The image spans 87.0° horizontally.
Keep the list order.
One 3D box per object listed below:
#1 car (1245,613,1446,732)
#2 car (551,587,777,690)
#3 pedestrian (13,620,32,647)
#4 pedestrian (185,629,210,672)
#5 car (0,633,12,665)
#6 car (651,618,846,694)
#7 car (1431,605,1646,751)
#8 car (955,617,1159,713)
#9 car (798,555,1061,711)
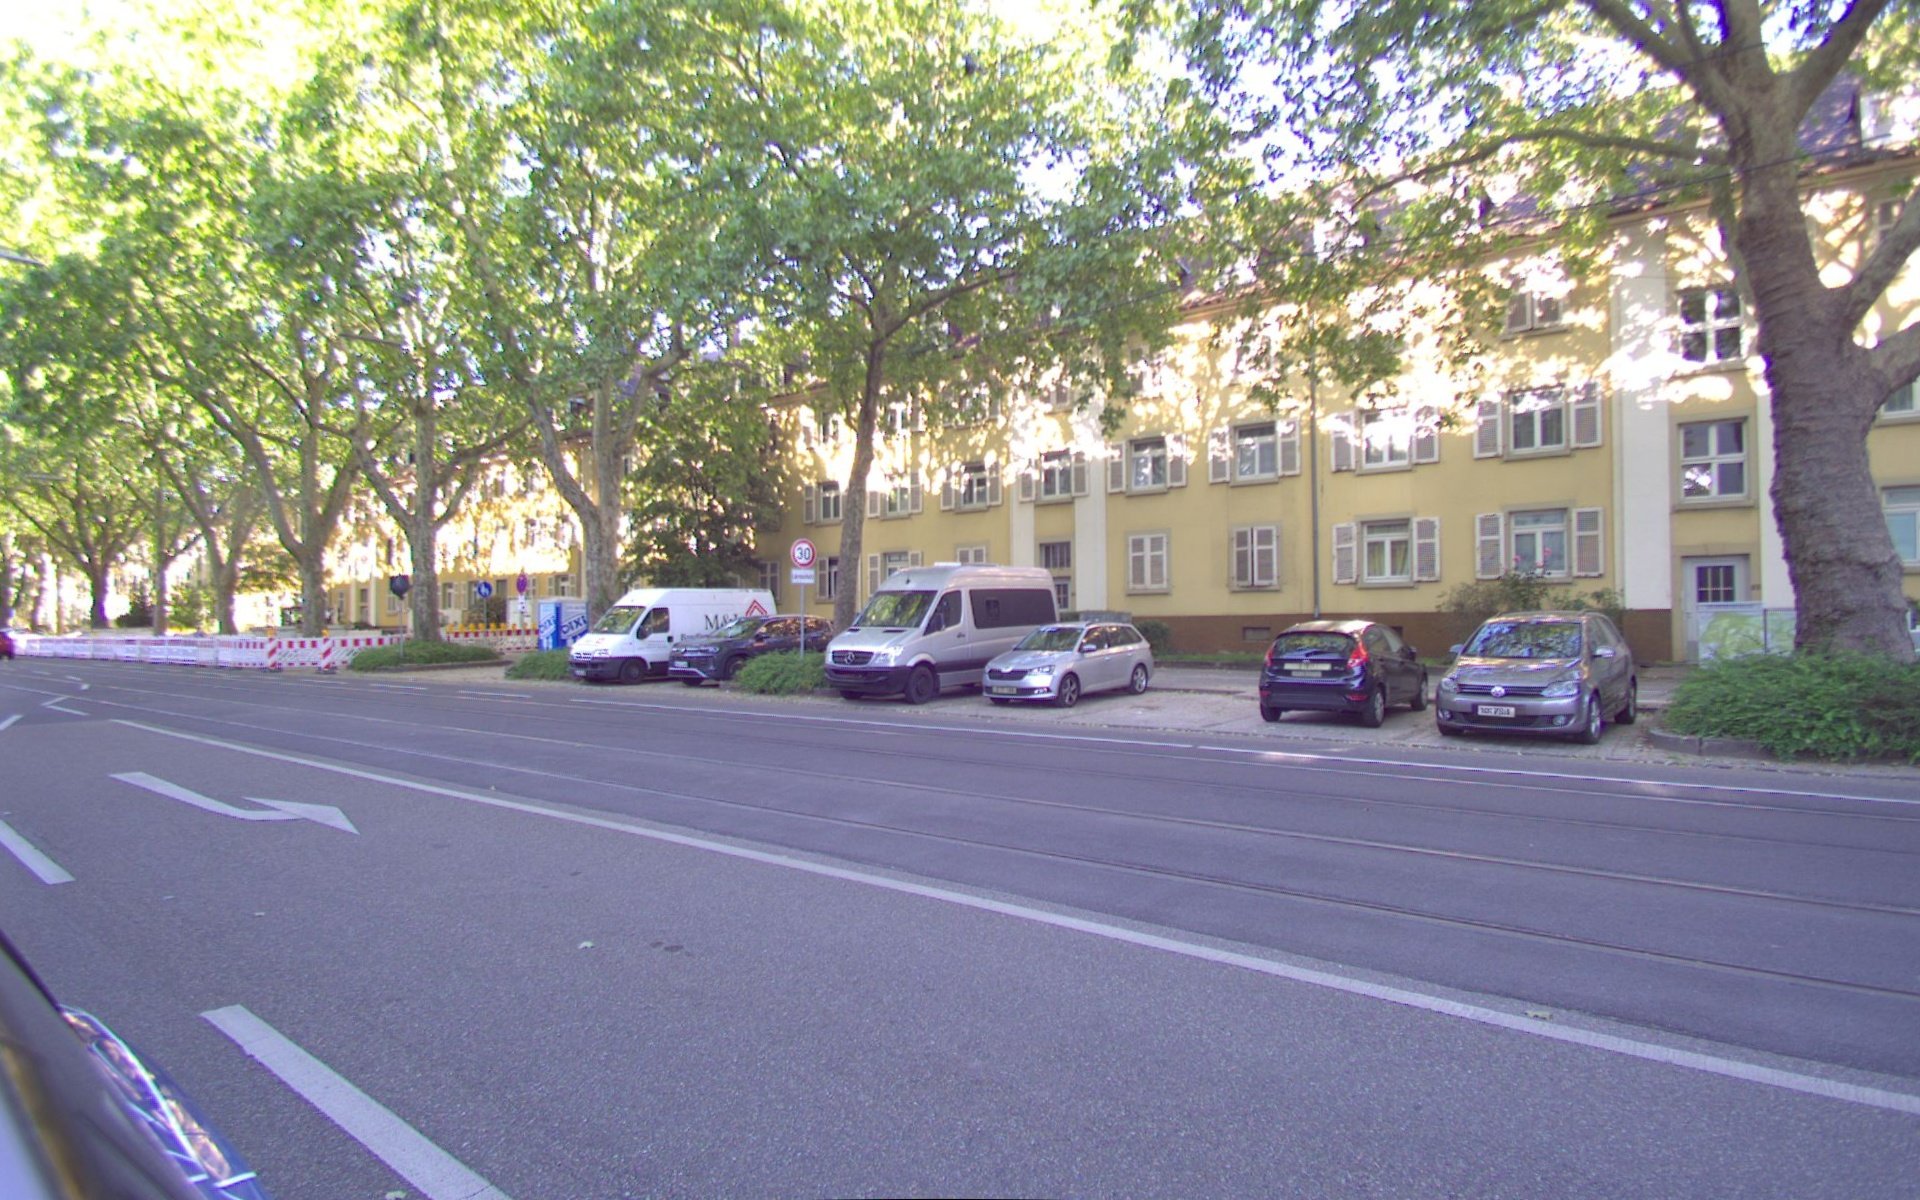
[{"bbox_3d":[5.960,1.002,15.421,1.671,1.509,3.756,-2,-1,41],"label":"car"},{"bbox_3d":[-7.567,0.965,26.376,2.222,2.394,5.336,-2,-2,40],"label":"car"},{"bbox_3d":[-66.145,2.374,71.410,0.723,1.900,0.664,-1,0,1],"label":"pedestrian"},{"bbox_3d":[-32.201,2.120,42.746,0.641,1.759,0.585,-1,0,-16],"label":"pedestrian"},{"bbox_3d":[-48.936,2.445,50.253,4.484,1.577,1.997,-2,-2,37],"label":"car"},{"bbox_3d":[-4.985,1.277,24.450,1.772,1.664,4.570,-2,-2,38],"label":"car"},{"bbox_3d":[7.737,0.899,13.369,1.672,1.592,3.928,-2,-1,41],"label":"car"},{"bbox_3d":[1.906,1.122,18.838,1.773,1.509,4.031,-2,-1,41],"label":"car"},{"bbox_3d":[-0.433,0.610,20.449,2.221,2.702,5.596,-2,-1,38],"label":"car"}]
